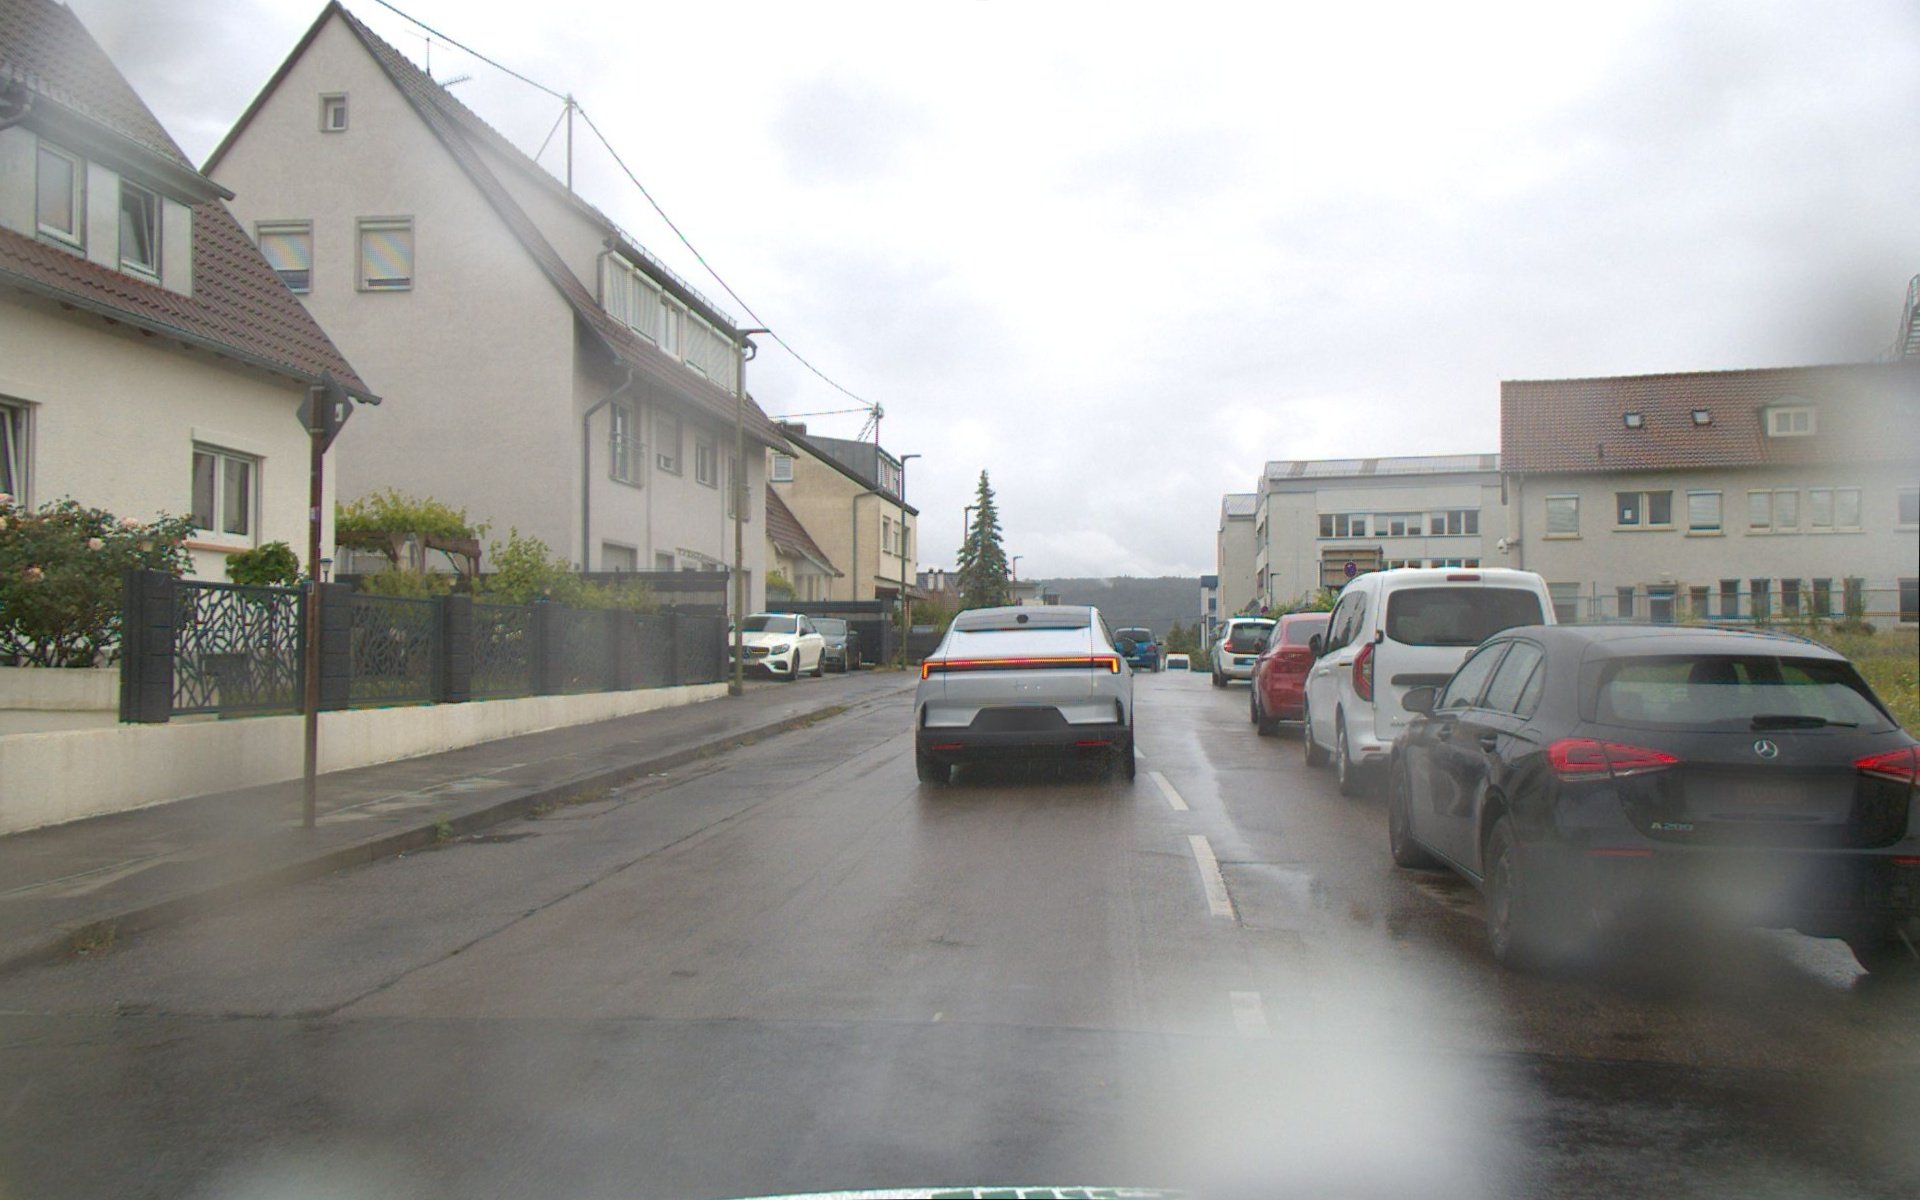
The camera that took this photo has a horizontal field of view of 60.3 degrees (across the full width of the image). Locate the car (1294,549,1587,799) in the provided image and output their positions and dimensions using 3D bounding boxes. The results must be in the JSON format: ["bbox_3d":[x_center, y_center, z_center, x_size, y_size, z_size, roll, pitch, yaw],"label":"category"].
[{"bbox_3d":[4.088,0.579,14.799,1.731,1.857,4.577,1,-1,6],"label":"car"}]

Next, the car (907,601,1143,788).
[{"bbox_3d":[0.768,0.798,15.980,1.951,1.528,4.673,0,-1,6],"label":"car"}]

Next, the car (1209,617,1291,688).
[{"bbox_3d":[6.782,1.208,38.916,1.646,1.585,3.676,1,-1,6],"label":"car"}]

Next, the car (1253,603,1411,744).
[{"bbox_3d":[4.697,0.872,21.385,1.607,1.602,4.647,1,-1,8],"label":"car"}]

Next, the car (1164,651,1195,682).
[{"bbox_3d":[15.863,4.814,119.719,1.952,2.049,4.000,-1,-5,3],"label":"car"}]

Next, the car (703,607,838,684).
[{"bbox_3d":[-4.241,1.009,37.936,1.951,1.536,4.898,3,-1,6],"label":"car"}]

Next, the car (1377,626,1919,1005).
[{"bbox_3d":[3.344,0.836,8.301,1.731,1.359,4.323,1,-1,5],"label":"car"}]

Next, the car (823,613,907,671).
[{"bbox_3d":[-2.538,1.115,45.236,1.789,1.392,4.571,3,-1,3],"label":"car"}]
